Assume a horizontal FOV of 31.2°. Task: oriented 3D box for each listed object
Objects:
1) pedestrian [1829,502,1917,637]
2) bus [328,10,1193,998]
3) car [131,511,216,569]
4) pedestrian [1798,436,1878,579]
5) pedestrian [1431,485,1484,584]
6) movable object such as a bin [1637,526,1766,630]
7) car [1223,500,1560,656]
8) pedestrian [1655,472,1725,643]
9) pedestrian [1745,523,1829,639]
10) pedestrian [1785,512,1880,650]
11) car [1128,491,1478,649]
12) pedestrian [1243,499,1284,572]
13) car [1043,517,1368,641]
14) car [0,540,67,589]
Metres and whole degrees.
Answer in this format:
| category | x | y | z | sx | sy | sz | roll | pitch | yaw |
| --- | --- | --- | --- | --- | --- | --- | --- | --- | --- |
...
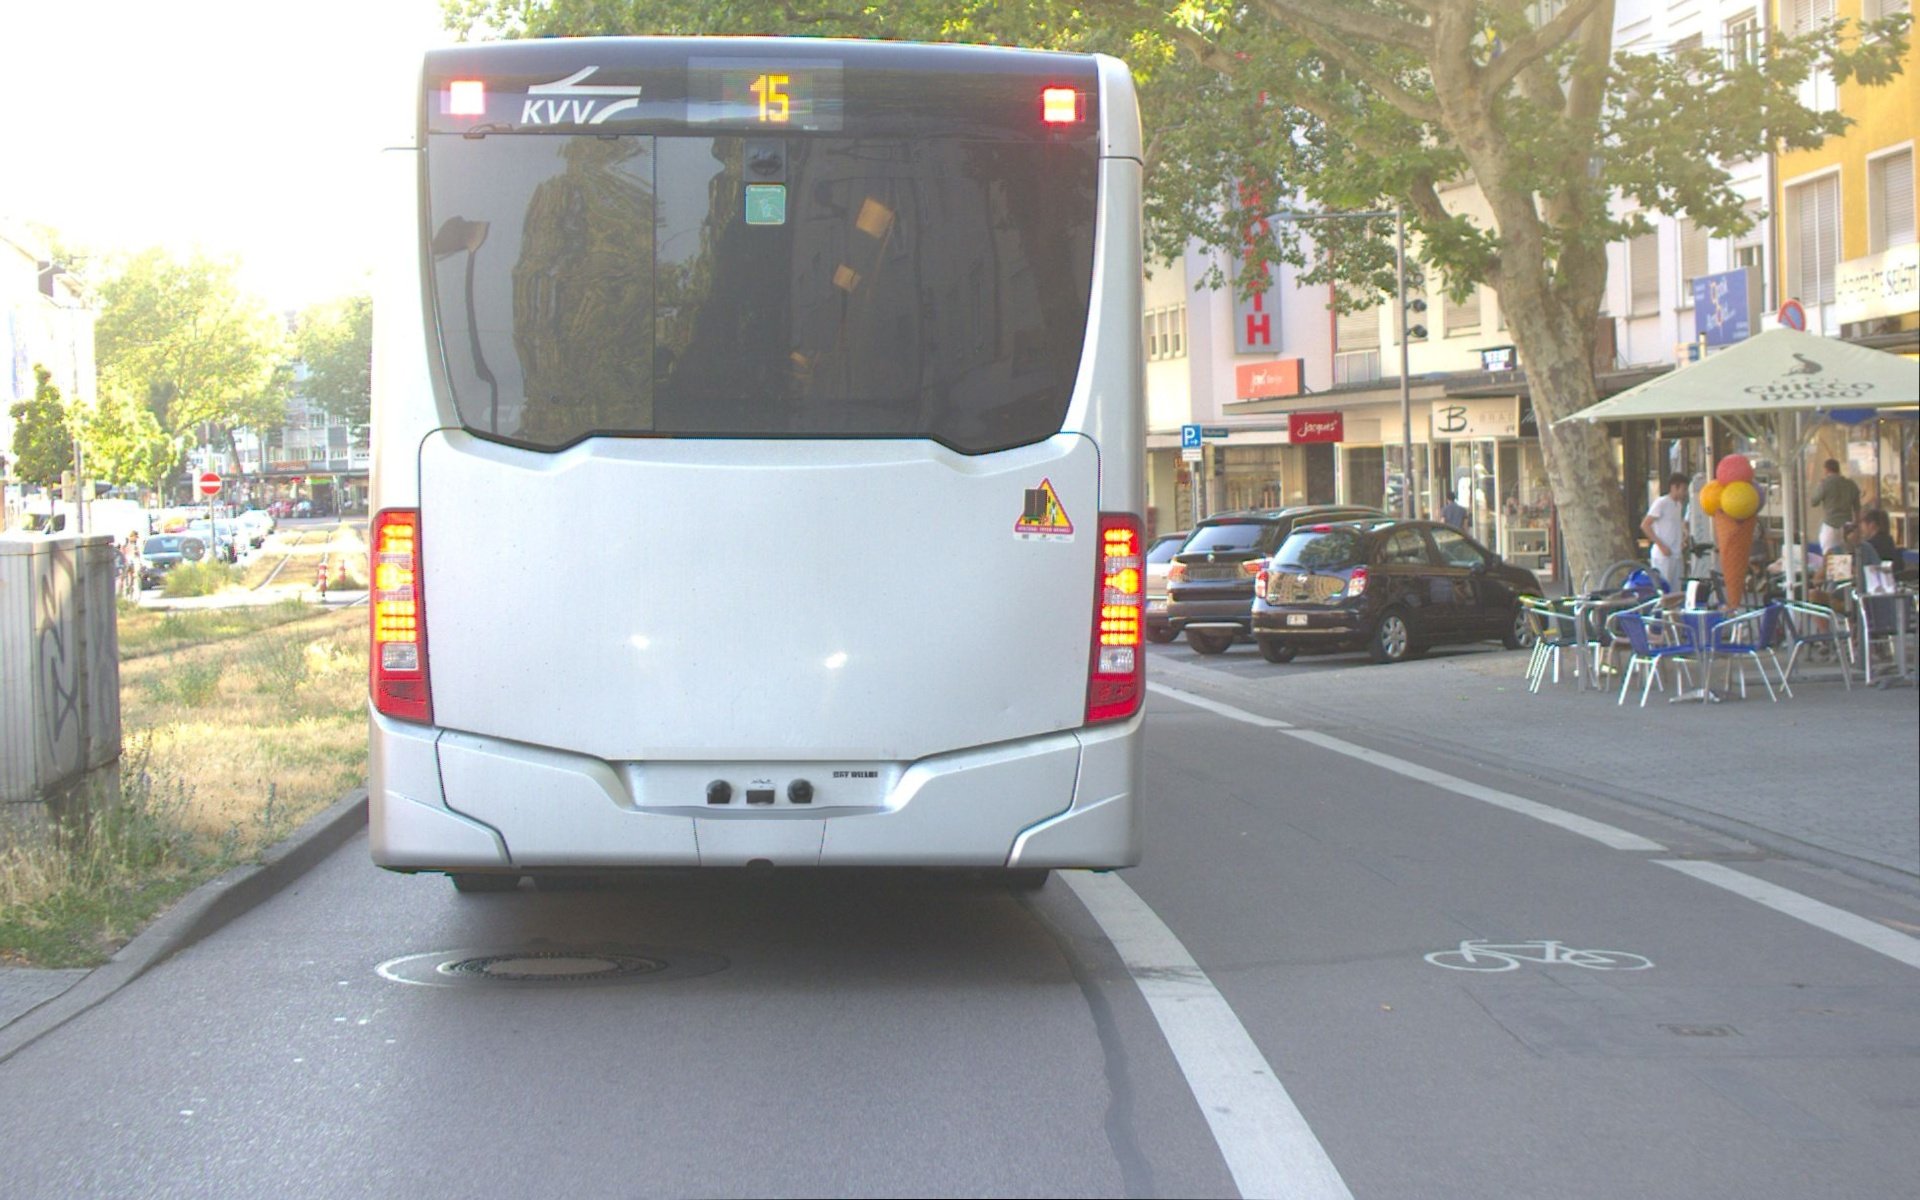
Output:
| category | x | y | z | sx | sy | sz | roll | pitch | yaw |
| --- | --- | --- | --- | --- | --- | --- | --- | --- | --- |
| pedestrian | 8.669 | -0.295 | 32.662 | 0.583 | 1.270 | 0.759 | 0 | 1 | -4 |
| bus | -0.750 | -0.414 | 14.306 | 2.678 | 3.072 | 7.115 | 0 | 2 | -2 |
| car | -22.218 | -1.707 | 97.230 | 1.722 | 1.504 | 3.477 | -4 | 2 | -4 |
| pedestrian | 11.325 | -1.194 | 44.344 | 0.707 | 1.785 | 0.788 | -5 | 1 | 1 |
| pedestrian | 9.124 | -1.208 | 63.045 | 0.780 | 1.787 | 0.764 | -2 | 1 | -4 |
| movable object such as a bin | 7.411 | -0.227 | 34.369 | 0.926 | 1.020 | 0.840 | 0 | 2 | -26 |
| car | 4.695 | -0.259 | 37.131 | 1.741 | 1.535 | 3.599 | 0 | 2 | 45 |
| pedestrian | 7.895 | -0.463 | 37.170 | 0.515 | 1.826 | 0.475 | -2 | 1 | -26 |
| pedestrian | 8.019 | -0.192 | 33.360 | 0.583 | 1.111 | 0.751 | 0 | 1 | -4 |
| pedestrian | 7.861 | -0.177 | 30.990 | 0.605 | 1.221 | 0.745 | -1 | 1 | -4 |
| car | 4.046 | -0.373 | 40.116 | 1.808 | 1.675 | 4.141 | 0 | 2 | 45 |
| pedestrian | 7.173 | -1.519 | 81.300 | 0.747 | 1.673 | 0.835 | -2 | 4 | -11 |
| car | 3.230 | -0.297 | 44.775 | 4.166 | 1.446 | 1.809 | -3 | 2 | -42 |
| car | -29.587 | -1.028 | 103.984 | 4.539 | 1.407 | 1.999 | -3 | 2 | -41 |
